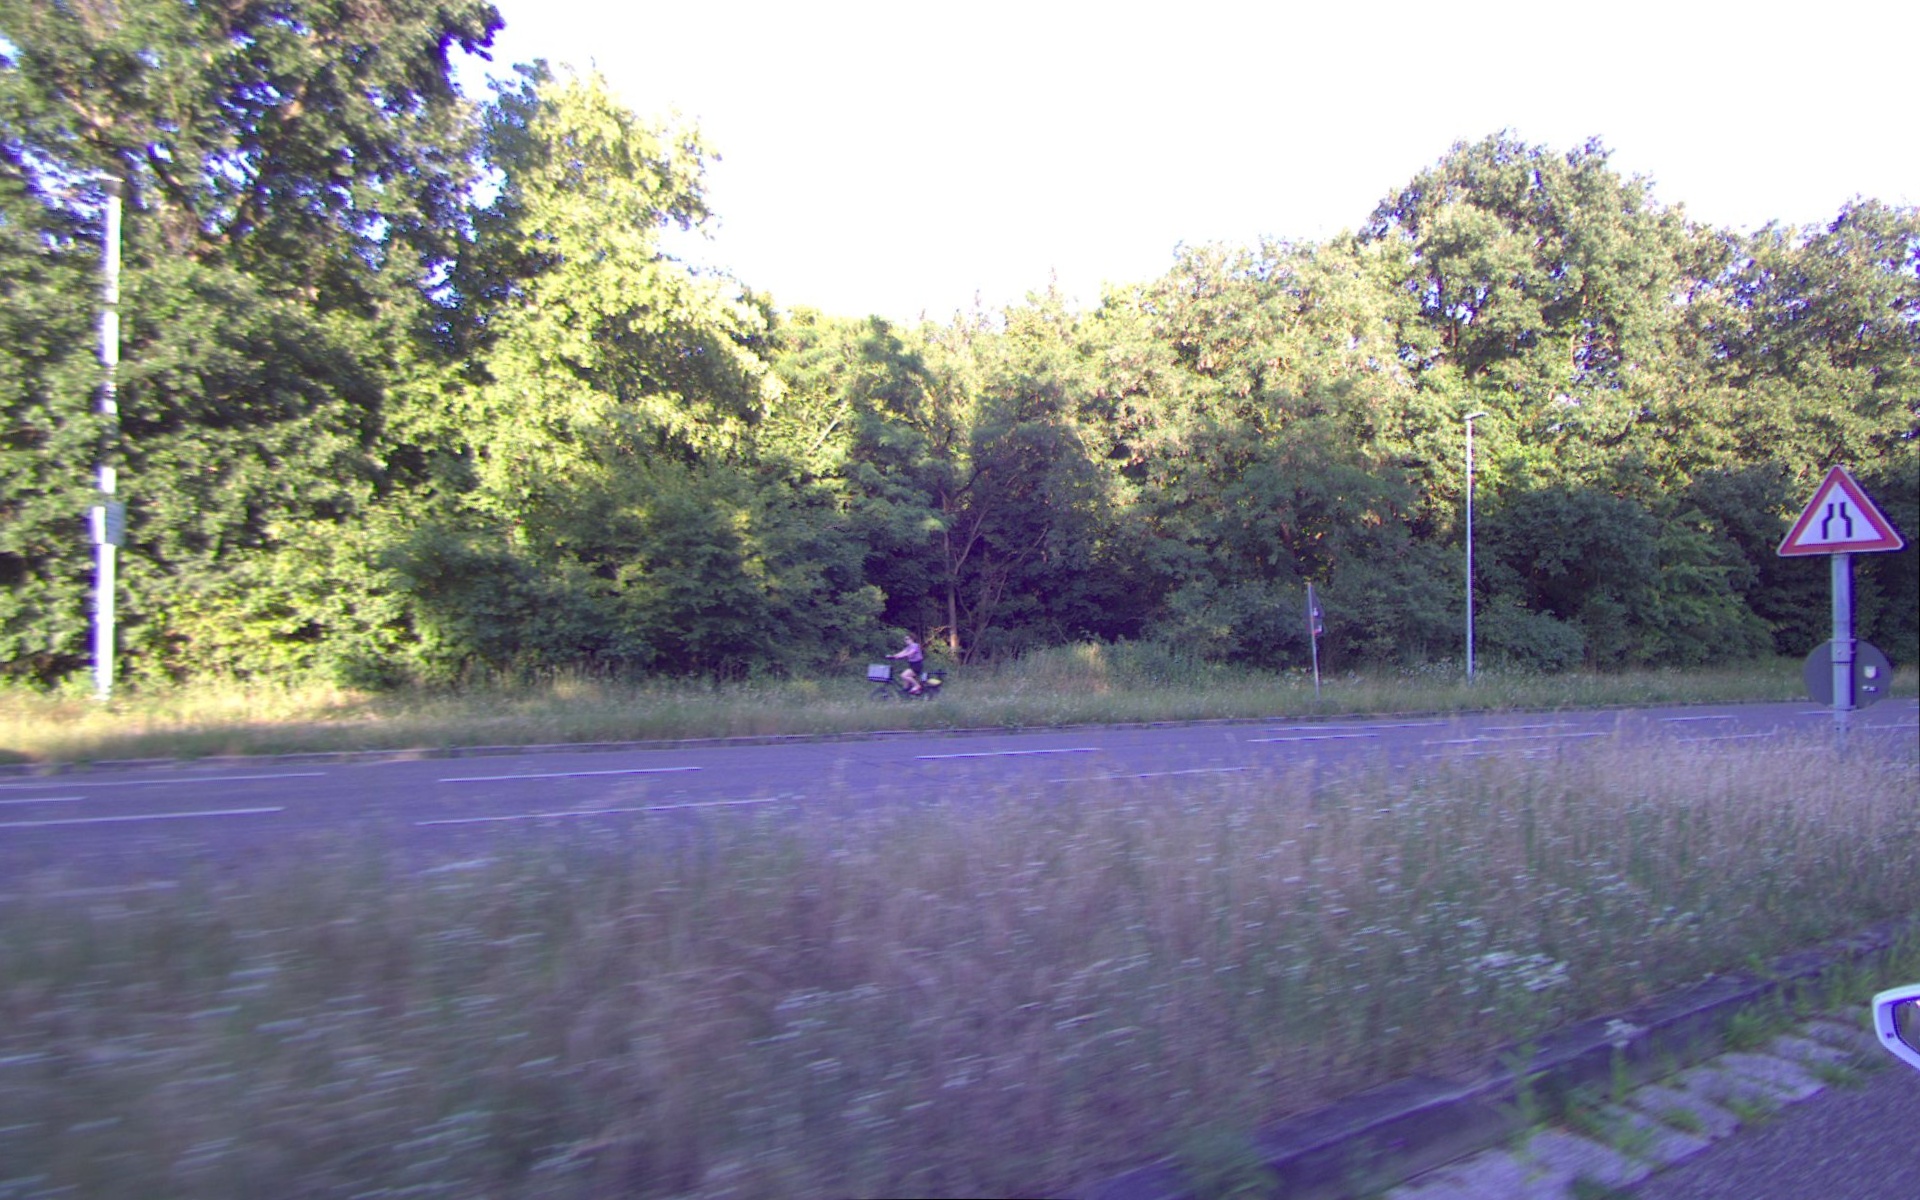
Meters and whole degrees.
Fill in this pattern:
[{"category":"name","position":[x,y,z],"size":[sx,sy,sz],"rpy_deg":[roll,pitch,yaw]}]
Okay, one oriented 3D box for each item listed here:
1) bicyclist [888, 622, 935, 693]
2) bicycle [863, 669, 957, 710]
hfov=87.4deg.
[{"category":"bicyclist","position":[-1.028,1.205,21.210],"size":[0.812,1.448,0.583],"rpy_deg":[1,-2,-27]},{"category":"bicycle","position":[-1.050,1.885,21.283],"size":[1.934,0.815,0.583],"rpy_deg":[1,-2,-28]}]
